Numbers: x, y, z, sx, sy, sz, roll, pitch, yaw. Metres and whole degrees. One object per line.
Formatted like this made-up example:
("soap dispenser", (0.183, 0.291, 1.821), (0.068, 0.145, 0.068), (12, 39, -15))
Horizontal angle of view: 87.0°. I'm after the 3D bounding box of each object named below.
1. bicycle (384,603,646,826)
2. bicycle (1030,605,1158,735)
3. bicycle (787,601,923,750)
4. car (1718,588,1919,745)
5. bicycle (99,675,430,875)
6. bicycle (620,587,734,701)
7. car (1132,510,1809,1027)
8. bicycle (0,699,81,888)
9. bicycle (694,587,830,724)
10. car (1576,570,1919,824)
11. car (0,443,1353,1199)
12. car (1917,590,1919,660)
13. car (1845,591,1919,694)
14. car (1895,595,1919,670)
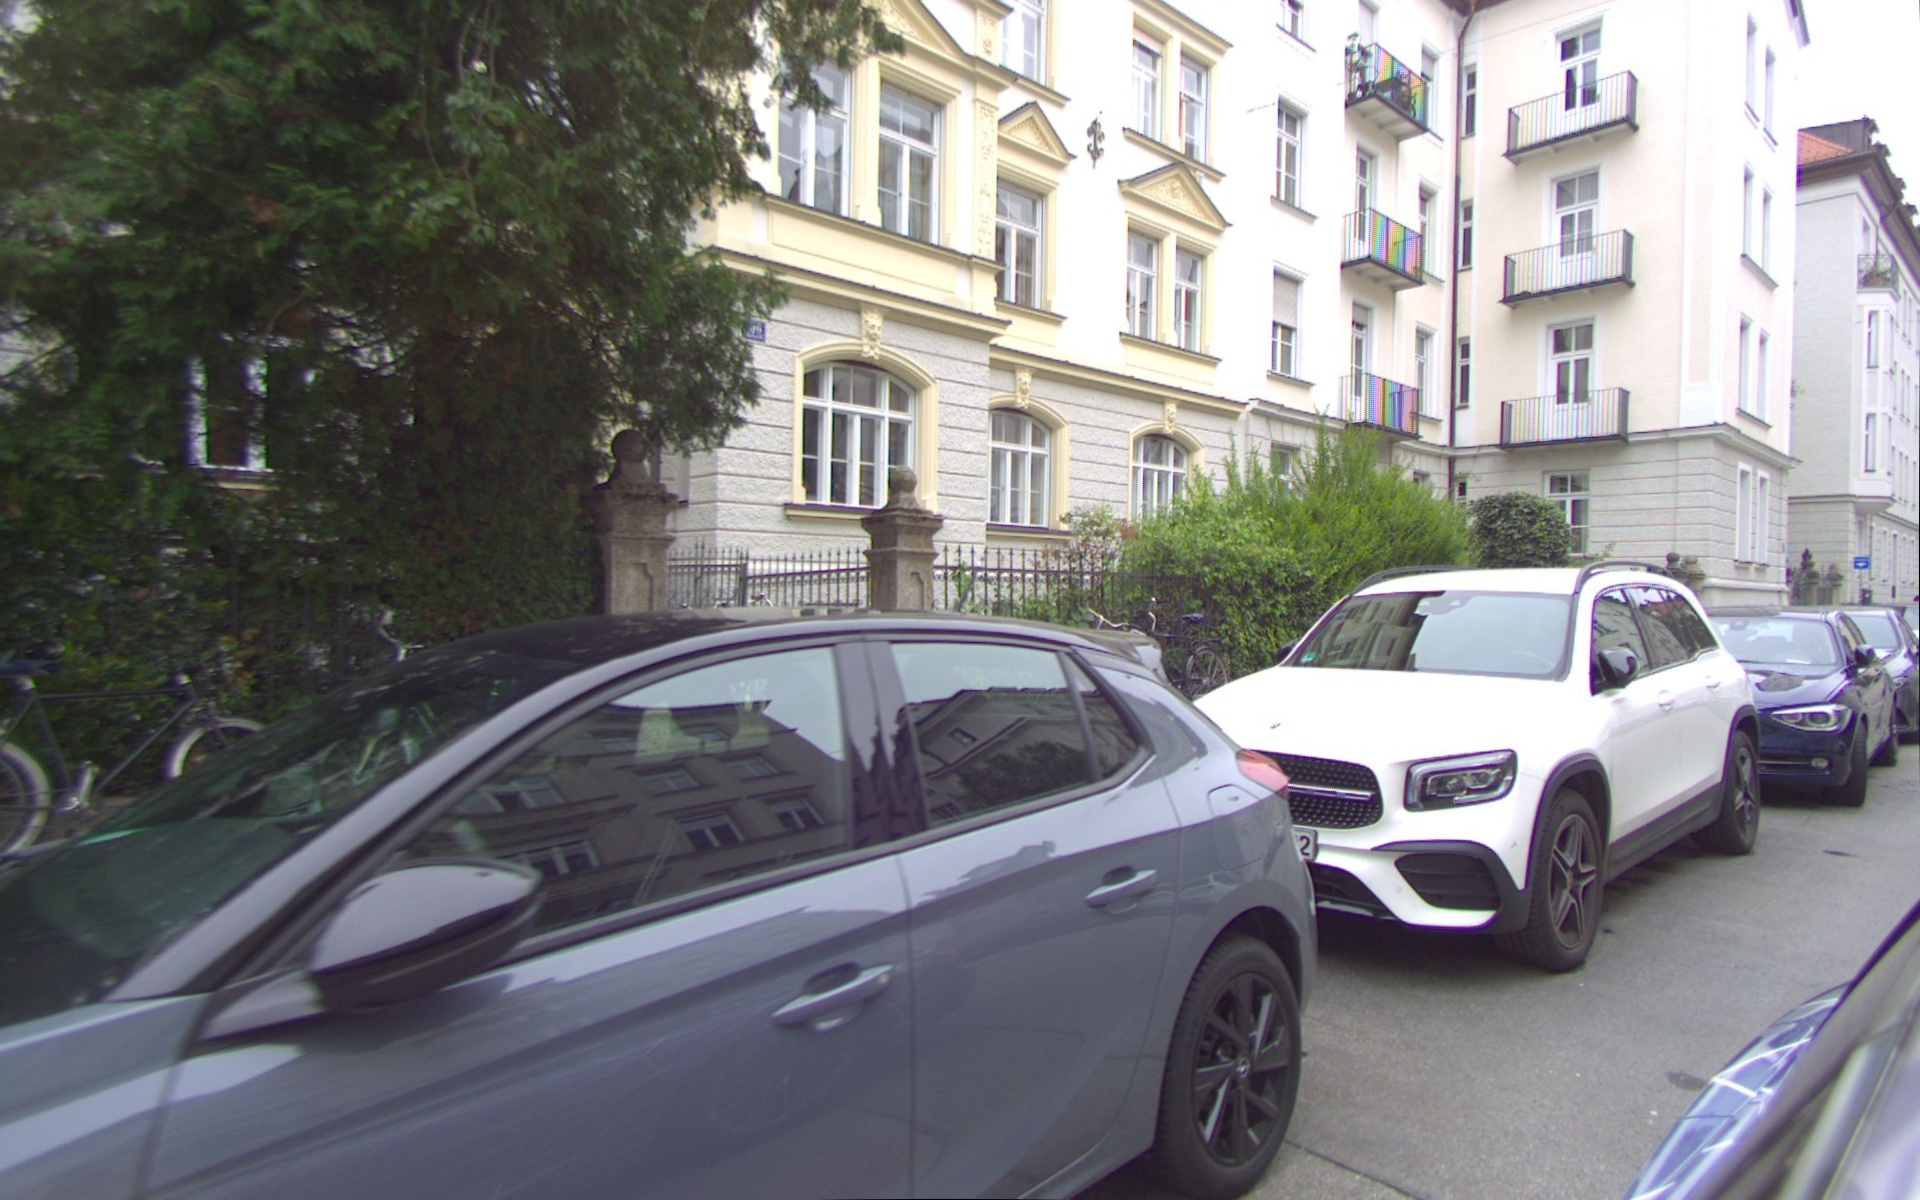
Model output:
("bicycle", (-2.517, 0.586, 5.851), (0.510, 1.108, 1.339), (1, 1, 32))
("bicycle", (1.269, 0.615, 9.457), (1.291, 1.112, 0.455), (0, 1, -42))
("bicycle", (-0.901, 0.581, 8.451), (0.448, 1.112, 1.311), (0, 1, -41))
("car", (10.264, 0.641, 11.742), (3.950, 1.523, 1.686), (0, 0, -43))
("bicycle", (-3.484, 0.827, 5.136), (1.330, 0.791, 0.514), (0, 1, -39))
("bicycle", (-3.129, 0.440, 11.104), (0.481, 1.122, 1.701), (0, 2, -43))
("car", (3.050, 0.579, 5.581), (4.335, 1.791, 1.726), (-1, -1, -40))
("bicycle", (-4.590, 0.854, 4.254), (1.330, 0.744, 0.514), (0, 1, -39))
("bicycle", (-1.916, 0.480, 9.631), (0.481, 1.198, 1.702), (0, 0, -41))
("car", (6.925, 0.647, 8.677), (4.350, 1.631, 1.751), (1, -1, -44))
("car", (-0.865, 0.632, 2.141), (3.569, 1.538, 1.725), (-1, -1, -42))
("car", (24.024, 0.564, 23.616), (4.320, 1.589, 1.826), (0, -2, -38))
("car", (15.839, 0.629, 16.327), (3.993, 1.523, 1.787), (0, 0, -40))
("car", (19.853, 0.618, 19.915), (3.390, 1.424, 1.757), (0, 0, -40))
